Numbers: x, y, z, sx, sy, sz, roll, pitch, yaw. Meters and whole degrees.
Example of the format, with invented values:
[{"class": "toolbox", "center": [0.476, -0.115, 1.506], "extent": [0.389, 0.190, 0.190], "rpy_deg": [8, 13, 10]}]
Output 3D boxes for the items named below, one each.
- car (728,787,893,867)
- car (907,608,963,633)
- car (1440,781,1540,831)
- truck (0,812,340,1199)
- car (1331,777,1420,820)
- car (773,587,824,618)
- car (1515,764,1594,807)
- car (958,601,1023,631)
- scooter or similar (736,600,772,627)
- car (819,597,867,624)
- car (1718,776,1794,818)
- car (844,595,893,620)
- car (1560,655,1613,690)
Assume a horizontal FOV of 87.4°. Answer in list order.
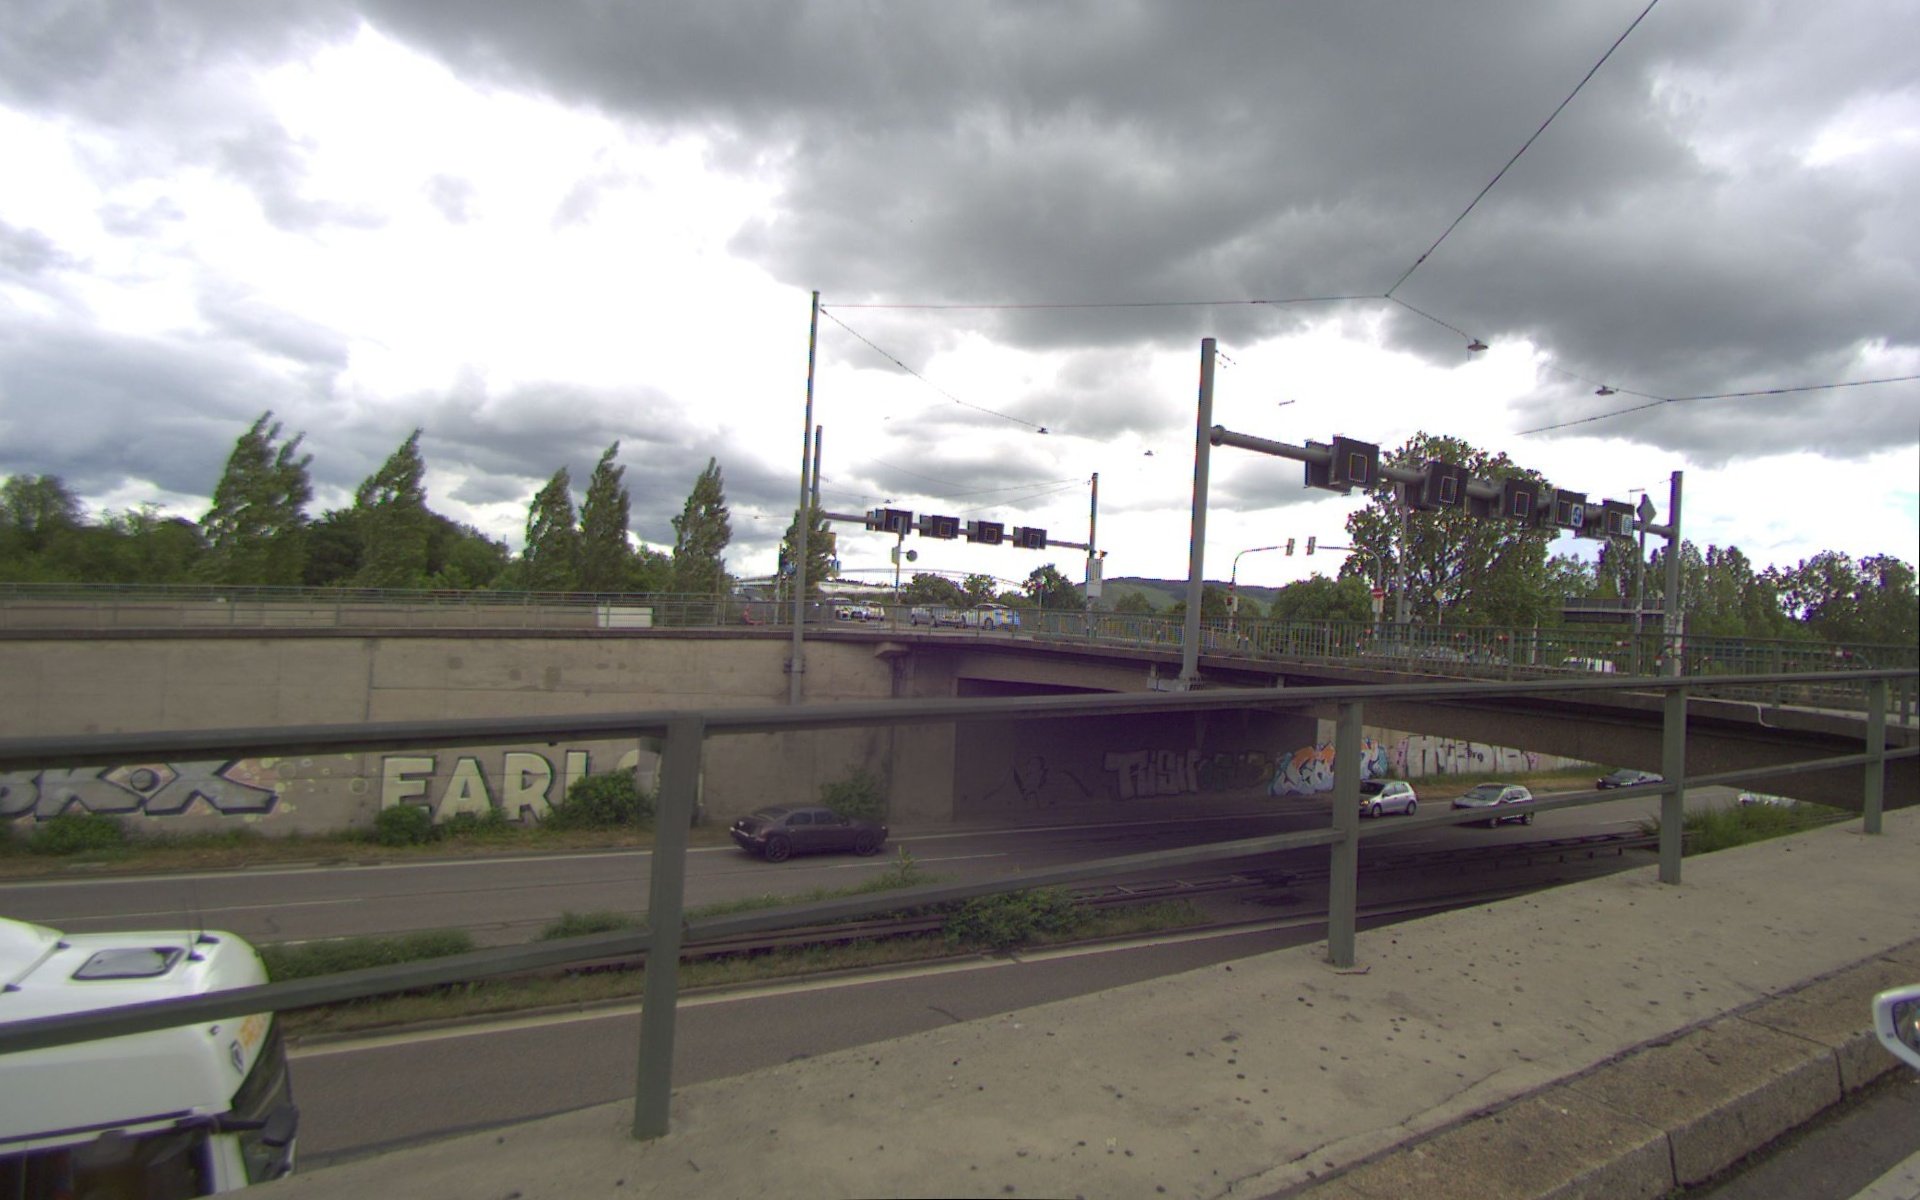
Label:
[{"class": "car", "center": [-4.522, 6.819, 30.558], "extent": [4.537, 1.774, 1.984], "rpy_deg": [4, -2, -30]}, {"class": "car", "center": [-1.486, 1.181, 57.637], "extent": [1.537, 1.372, 3.860], "rpy_deg": [1, -1, -31]}, {"class": "car", "center": [23.040, 8.882, 43.627], "extent": [4.257, 1.637, 1.877], "rpy_deg": [4, -2, -30]}, {"class": "truck", "center": [-8.052, 3.842, 6.339], "extent": [6.618, 4.306, 2.740], "rpy_deg": [4, -3, -29]}, {"class": "car", "center": [18.575, 8.820, 44.880], "extent": [3.877, 1.476, 1.674], "rpy_deg": [4, -2, -30]}, {"class": "car", "center": [-11.278, 0.177, 69.818], "extent": [1.711, 2.040, 4.443], "rpy_deg": [1, 0, -35]}, {"class": "car", "center": [31.497, 9.782, 53.210], "extent": [4.059, 1.665, 1.925], "rpy_deg": [1, 0, -30]}, {"class": "car", "center": [1.789, 0.937, 60.466], "extent": [1.915, 1.740, 4.369], "rpy_deg": [1, -1, -31]}, {"class": "scooter or similar", "center": [-8.890, 0.574, 43.303], "extent": [1.402, 1.108, 0.539], "rpy_deg": [3, -2, -34]}, {"class": "car", "center": [-7.248, 0.628, 62.083], "extent": [1.560, 1.587, 3.715], "rpy_deg": [1, -1, -31]}, {"class": "car", "center": [40.813, 10.085, 51.514], "extent": [3.951, 1.519, 1.771], "rpy_deg": [1, 0, -31]}, {"class": "car", "center": [-6.781, 0.546, 74.412], "extent": [1.919, 1.740, 3.960], "rpy_deg": [1, -1, -35]}, {"class": "car", "center": [43.827, 5.018, 70.242], "extent": [3.626, 2.245, 1.843], "rpy_deg": [1, 0, -35]}]
